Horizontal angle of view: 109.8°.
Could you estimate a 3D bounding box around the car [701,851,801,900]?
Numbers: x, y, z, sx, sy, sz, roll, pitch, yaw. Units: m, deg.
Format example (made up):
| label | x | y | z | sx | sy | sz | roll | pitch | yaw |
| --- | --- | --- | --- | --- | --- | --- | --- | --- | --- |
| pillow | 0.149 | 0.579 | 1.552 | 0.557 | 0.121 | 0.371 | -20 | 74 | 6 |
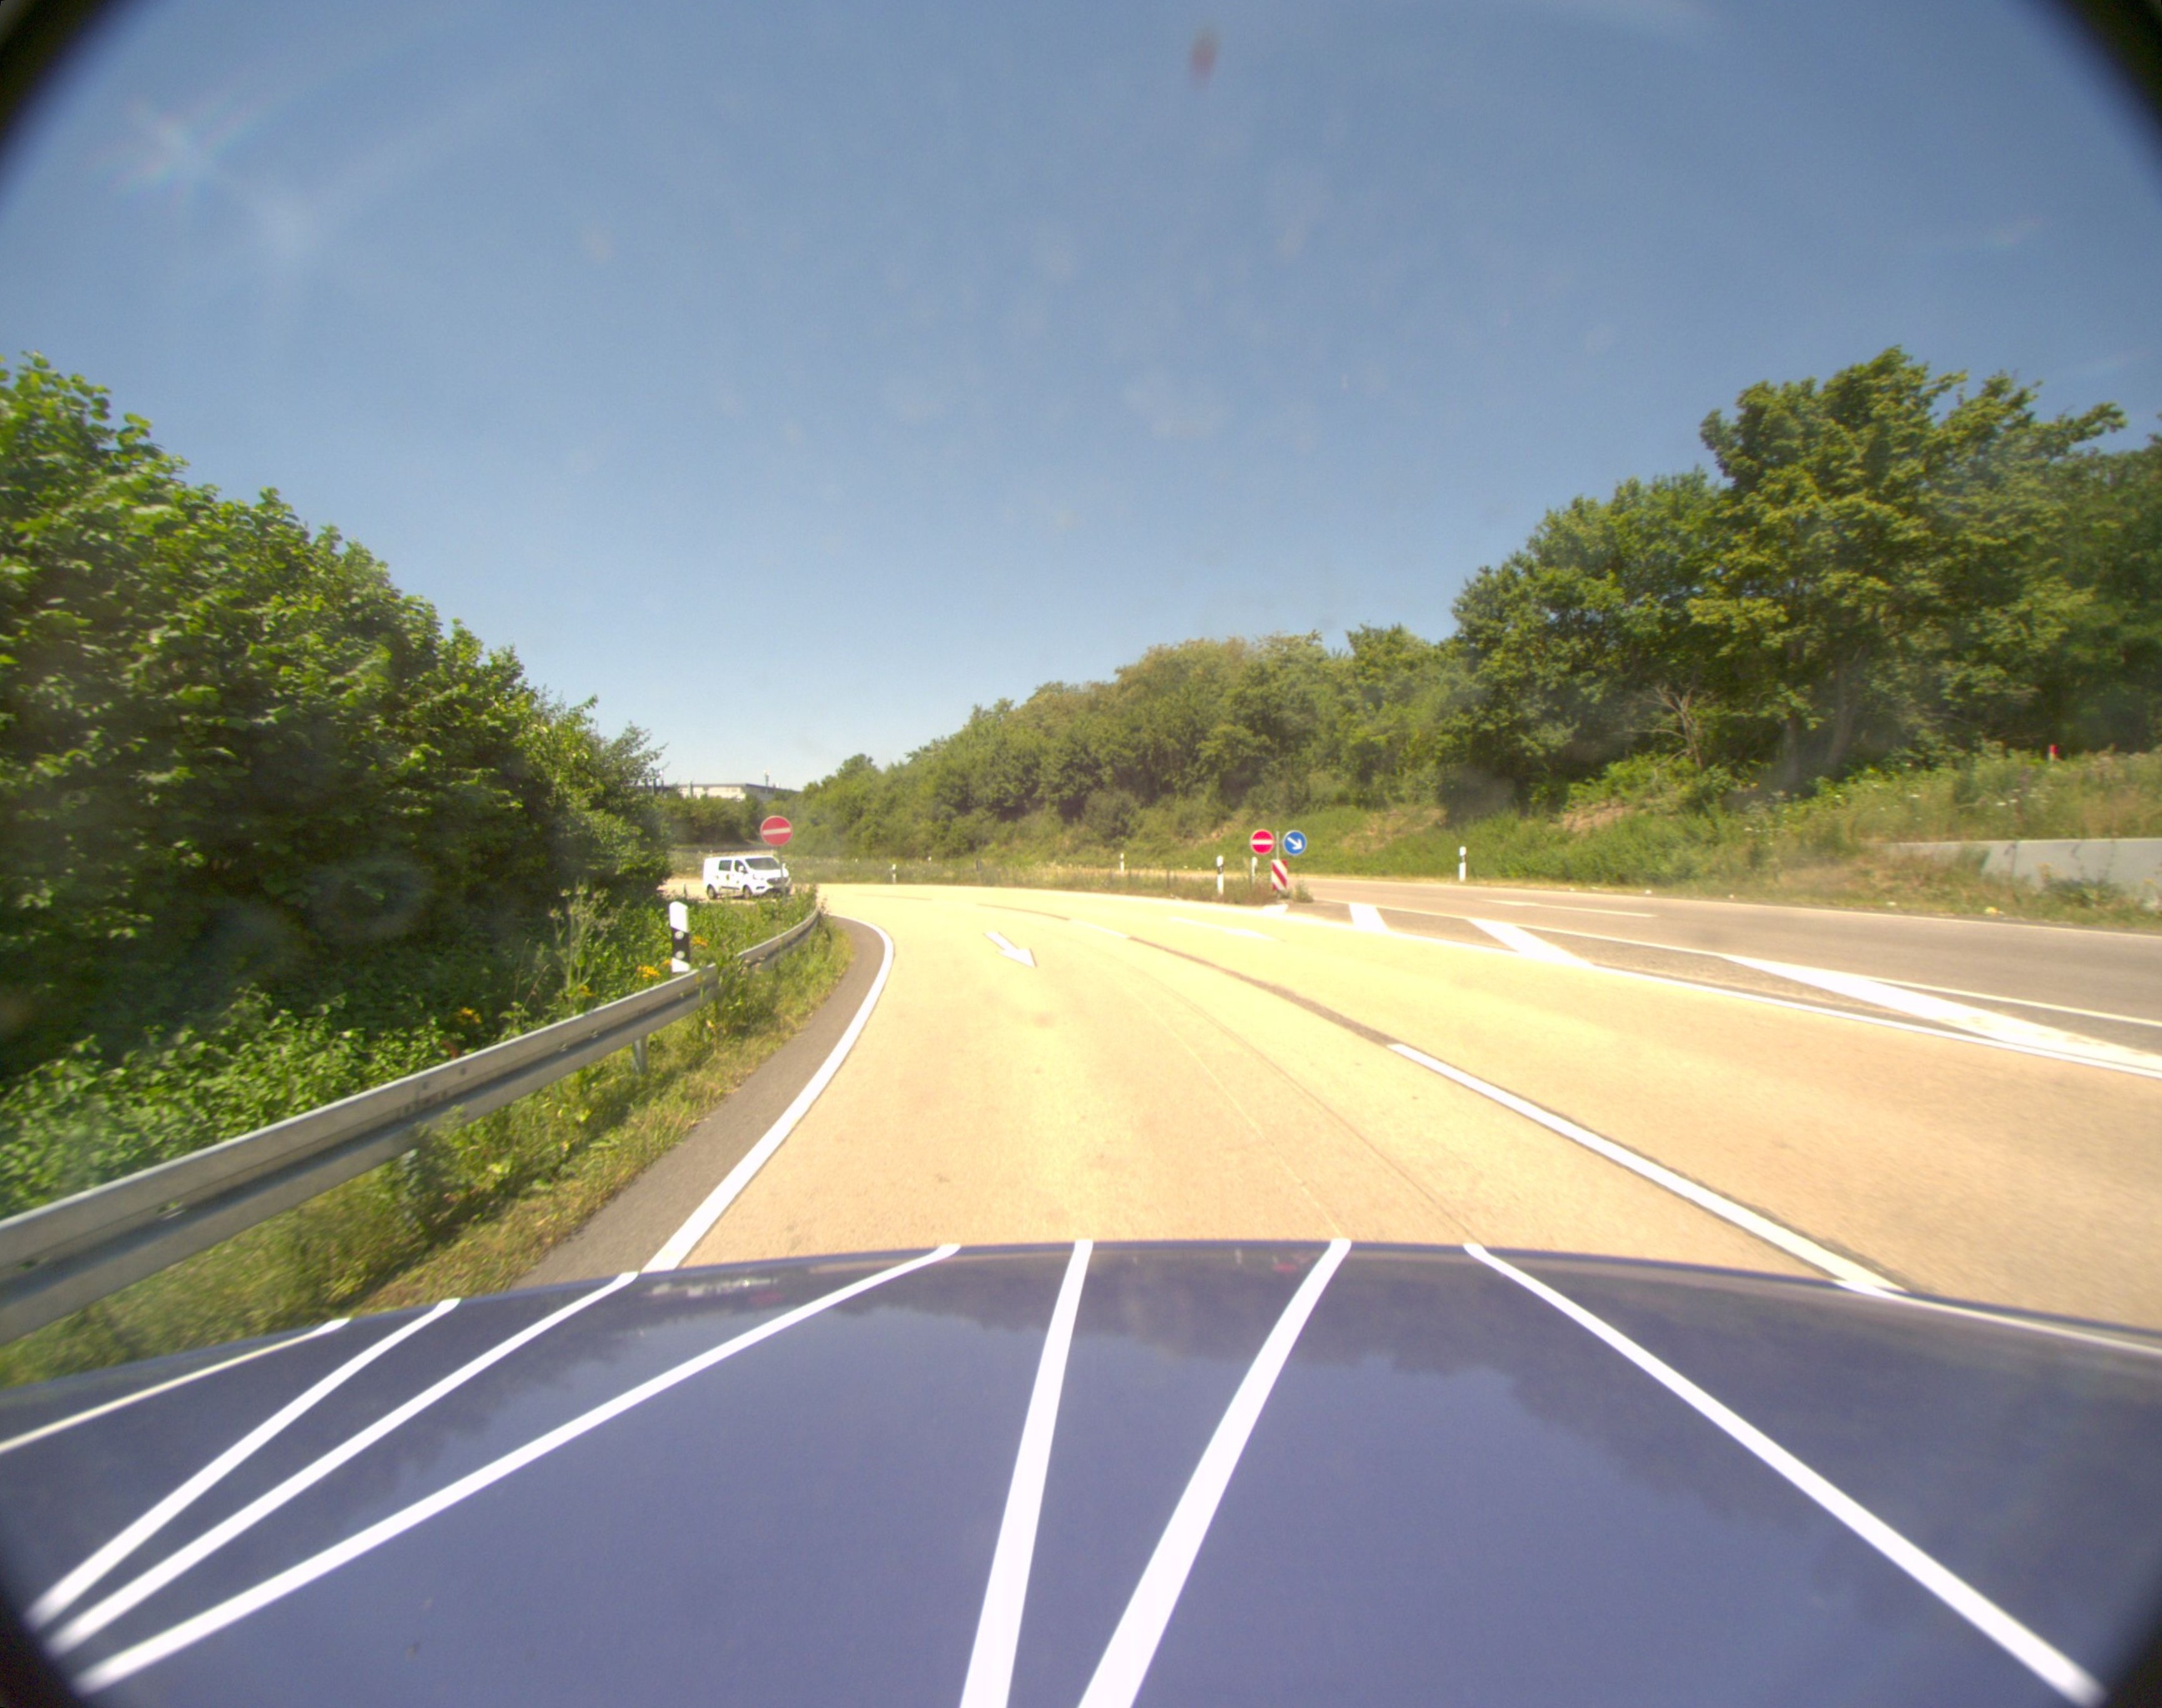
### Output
| label | x | y | z | sx | sy | sz | roll | pitch | yaw |
| --- | --- | --- | --- | --- | --- | --- | --- | --- | --- |
| car | -15.427 | 0.989 | 35.404 | 5.027 | 2.003 | 2.067 | -1 | 4 | 39 |
